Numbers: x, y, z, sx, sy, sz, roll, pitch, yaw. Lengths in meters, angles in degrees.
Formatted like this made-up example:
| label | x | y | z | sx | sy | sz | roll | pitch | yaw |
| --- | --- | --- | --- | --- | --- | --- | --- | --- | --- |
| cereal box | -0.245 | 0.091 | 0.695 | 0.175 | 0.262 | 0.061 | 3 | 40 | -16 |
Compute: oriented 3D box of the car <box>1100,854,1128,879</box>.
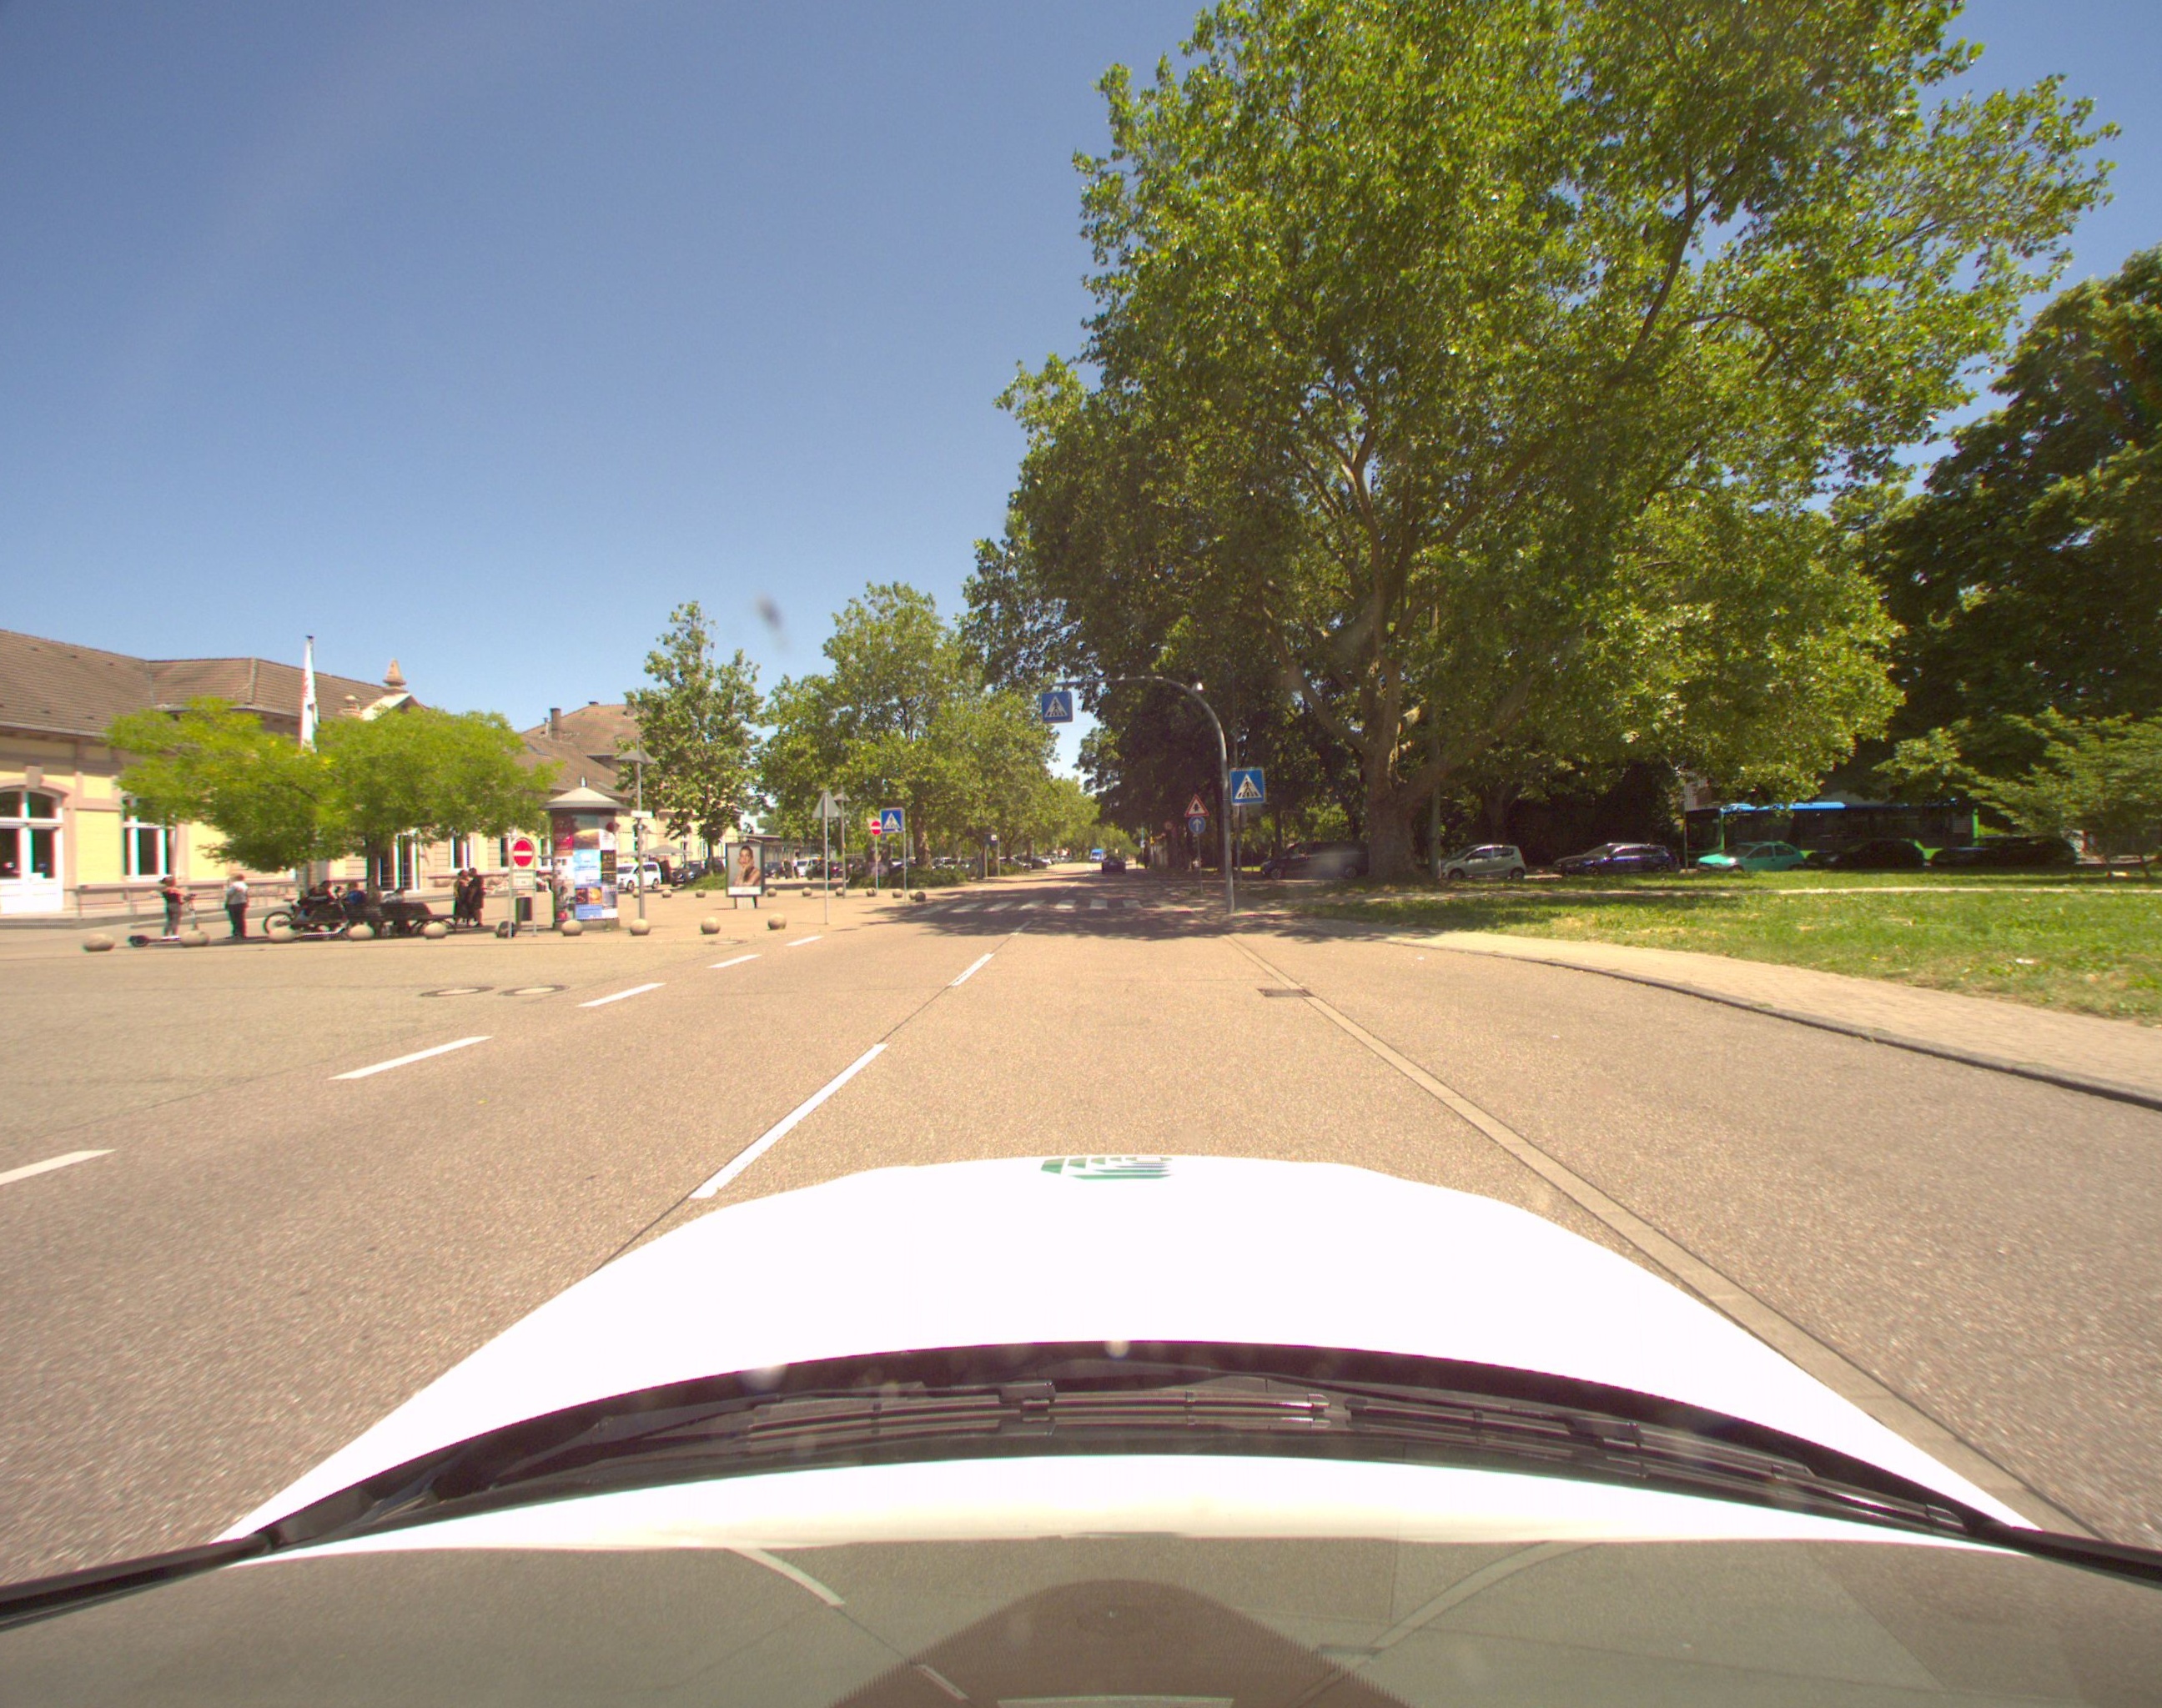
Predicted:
| label | x | y | z | sx | sy | sz | roll | pitch | yaw |
| --- | --- | --- | --- | --- | --- | --- | --- | --- | --- |
| car | 2.571 | 0.953 | 64.097 | 2.117 | 1.848 | 4.050 | -1 | 0 | 2 |

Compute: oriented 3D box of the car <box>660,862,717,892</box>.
| label | x | y | z | sx | sy | sz | roll | pitch | yaw |
| --- | --- | --- | --- | --- | --- | --- | --- | --- | --- |
| car | -28.187 | 1.627 | 58.632 | 1.986 | 2.014 | 4.001 | -2 | -1 | 2 |

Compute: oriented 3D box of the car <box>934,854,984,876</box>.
| label | x | y | z | sx | sy | sz | roll | pitch | yaw |
| --- | --- | --- | --- | --- | --- | --- | --- | --- | --- |
| car | -10.378 | 0.936 | 69.226 | 3.996 | 1.781 | 1.989 | -1 | -1 | -17 |

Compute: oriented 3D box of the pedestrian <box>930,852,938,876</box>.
| label | x | y | z | sx | sy | sz | roll | pitch | yaw |
| --- | --- | --- | --- | --- | --- | --- | --- | --- | --- |
| pedestrian | -12.175 | 0.831 | 67.451 | 0.625 | 2.014 | 0.568 | -1 | -2 | -12 |

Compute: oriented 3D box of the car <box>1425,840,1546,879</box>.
| label | x | y | z | sx | sy | sz | roll | pitch | yaw |
| --- | --- | --- | --- | --- | --- | --- | --- | --- | --- |
| car | 16.937 | 0.218 | 34.259 | 4.084 | 1.466 | 2.004 | -2 | 0 | 6 |

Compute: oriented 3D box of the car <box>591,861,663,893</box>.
| label | x | y | z | sx | sy | sz | roll | pitch | yaw |
| --- | --- | --- | --- | --- | --- | --- | --- | --- | --- |
| car | -28.722 | 1.438 | 51.703 | 1.744 | 1.917 | 4.777 | -2 | -1 | 2 |

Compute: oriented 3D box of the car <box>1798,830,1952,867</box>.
| label | x | y | z | sx | sy | sz | roll | pitch | yaw |
| --- | --- | --- | --- | --- | --- | --- | --- | --- | --- |
| car | 32.503 | -0.209 | 33.440 | 4.320 | 1.416 | 2.001 | -1 | -1 | 2 |

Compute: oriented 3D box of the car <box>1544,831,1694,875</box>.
| label | x | y | z | sx | sy | sz | roll | pitch | yaw |
| --- | --- | --- | --- | --- | --- | --- | --- | --- | --- |
| car | 22.154 | -0.050 | 33.689 | 4.802 | 1.607 | 2.002 | -2 | 0 | 4 |

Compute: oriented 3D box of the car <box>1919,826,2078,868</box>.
| label | x | y | z | sx | sy | sz | roll | pitch | yaw |
| --- | --- | --- | --- | --- | --- | --- | --- | --- | --- |
| car | 37.553 | -0.269 | 33.427 | 4.079 | 1.609 | 2.002 | -1 | -1 | 3 |

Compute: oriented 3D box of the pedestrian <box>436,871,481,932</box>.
| label | x | y | z | sx | sy | sz | roll | pitch | yaw |
| --- | --- | --- | --- | --- | --- | --- | --- | --- | --- |
| pedestrian | -17.631 | 1.337 | 23.072 | 0.754 | 1.659 | 0.724 | -2 | -2 | 19 |

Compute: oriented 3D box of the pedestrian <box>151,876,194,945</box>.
| label | x | y | z | sx | sy | sz | roll | pitch | yaw |
| --- | --- | --- | --- | --- | --- | --- | --- | --- | --- |
| pedestrian | -22.837 | 1.413 | 20.486 | 0.661 | 1.673 | 0.623 | 0 | -3 | -44 |

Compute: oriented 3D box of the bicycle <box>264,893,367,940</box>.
| label | x | y | z | sx | sy | sz | roll | pitch | yaw |
| --- | --- | --- | --- | --- | --- | --- | --- | --- | --- |
| bicycle | -18.975 | 1.538 | 20.226 | 1.800 | 1.030 | 0.485 | -1 | -1 | -22 |

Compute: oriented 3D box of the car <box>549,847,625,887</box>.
| label | x | y | z | sx | sy | sz | roll | pitch | yaw |
| --- | --- | --- | --- | --- | --- | --- | --- | --- | --- |
| car | -31.524 | 0.791 | 52.168 | 1.713 | 2.468 | 5.005 | 0 | 0 | 1 |

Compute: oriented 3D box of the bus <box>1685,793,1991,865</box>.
| label | x | y | z | sx | sy | sz | roll | pitch | yaw |
| --- | --- | --- | --- | --- | --- | --- | --- | --- | --- |
| bus | 36.222 | -1.165 | 39.218 | 12.332 | 2.978 | 2.269 | -2 | -1 | 1 |

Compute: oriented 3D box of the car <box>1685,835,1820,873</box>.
| label | x | y | z | sx | sy | sz | roll | pitch | yaw |
| --- | --- | --- | --- | --- | --- | --- | --- | --- | --- |
| car | 27.639 | 0.013 | 33.617 | 3.865 | 1.454 | 2.001 | -1 | -1 | 3 |

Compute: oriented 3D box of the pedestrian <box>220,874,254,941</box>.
| label | x | y | z | sx | sy | sz | roll | pitch | yaw |
| --- | --- | --- | --- | --- | --- | --- | --- | --- | --- |
| pedestrian | -22.054 | 1.391 | 21.282 | 0.589 | 1.710 | 0.580 | 0 | -3 | -44 |
